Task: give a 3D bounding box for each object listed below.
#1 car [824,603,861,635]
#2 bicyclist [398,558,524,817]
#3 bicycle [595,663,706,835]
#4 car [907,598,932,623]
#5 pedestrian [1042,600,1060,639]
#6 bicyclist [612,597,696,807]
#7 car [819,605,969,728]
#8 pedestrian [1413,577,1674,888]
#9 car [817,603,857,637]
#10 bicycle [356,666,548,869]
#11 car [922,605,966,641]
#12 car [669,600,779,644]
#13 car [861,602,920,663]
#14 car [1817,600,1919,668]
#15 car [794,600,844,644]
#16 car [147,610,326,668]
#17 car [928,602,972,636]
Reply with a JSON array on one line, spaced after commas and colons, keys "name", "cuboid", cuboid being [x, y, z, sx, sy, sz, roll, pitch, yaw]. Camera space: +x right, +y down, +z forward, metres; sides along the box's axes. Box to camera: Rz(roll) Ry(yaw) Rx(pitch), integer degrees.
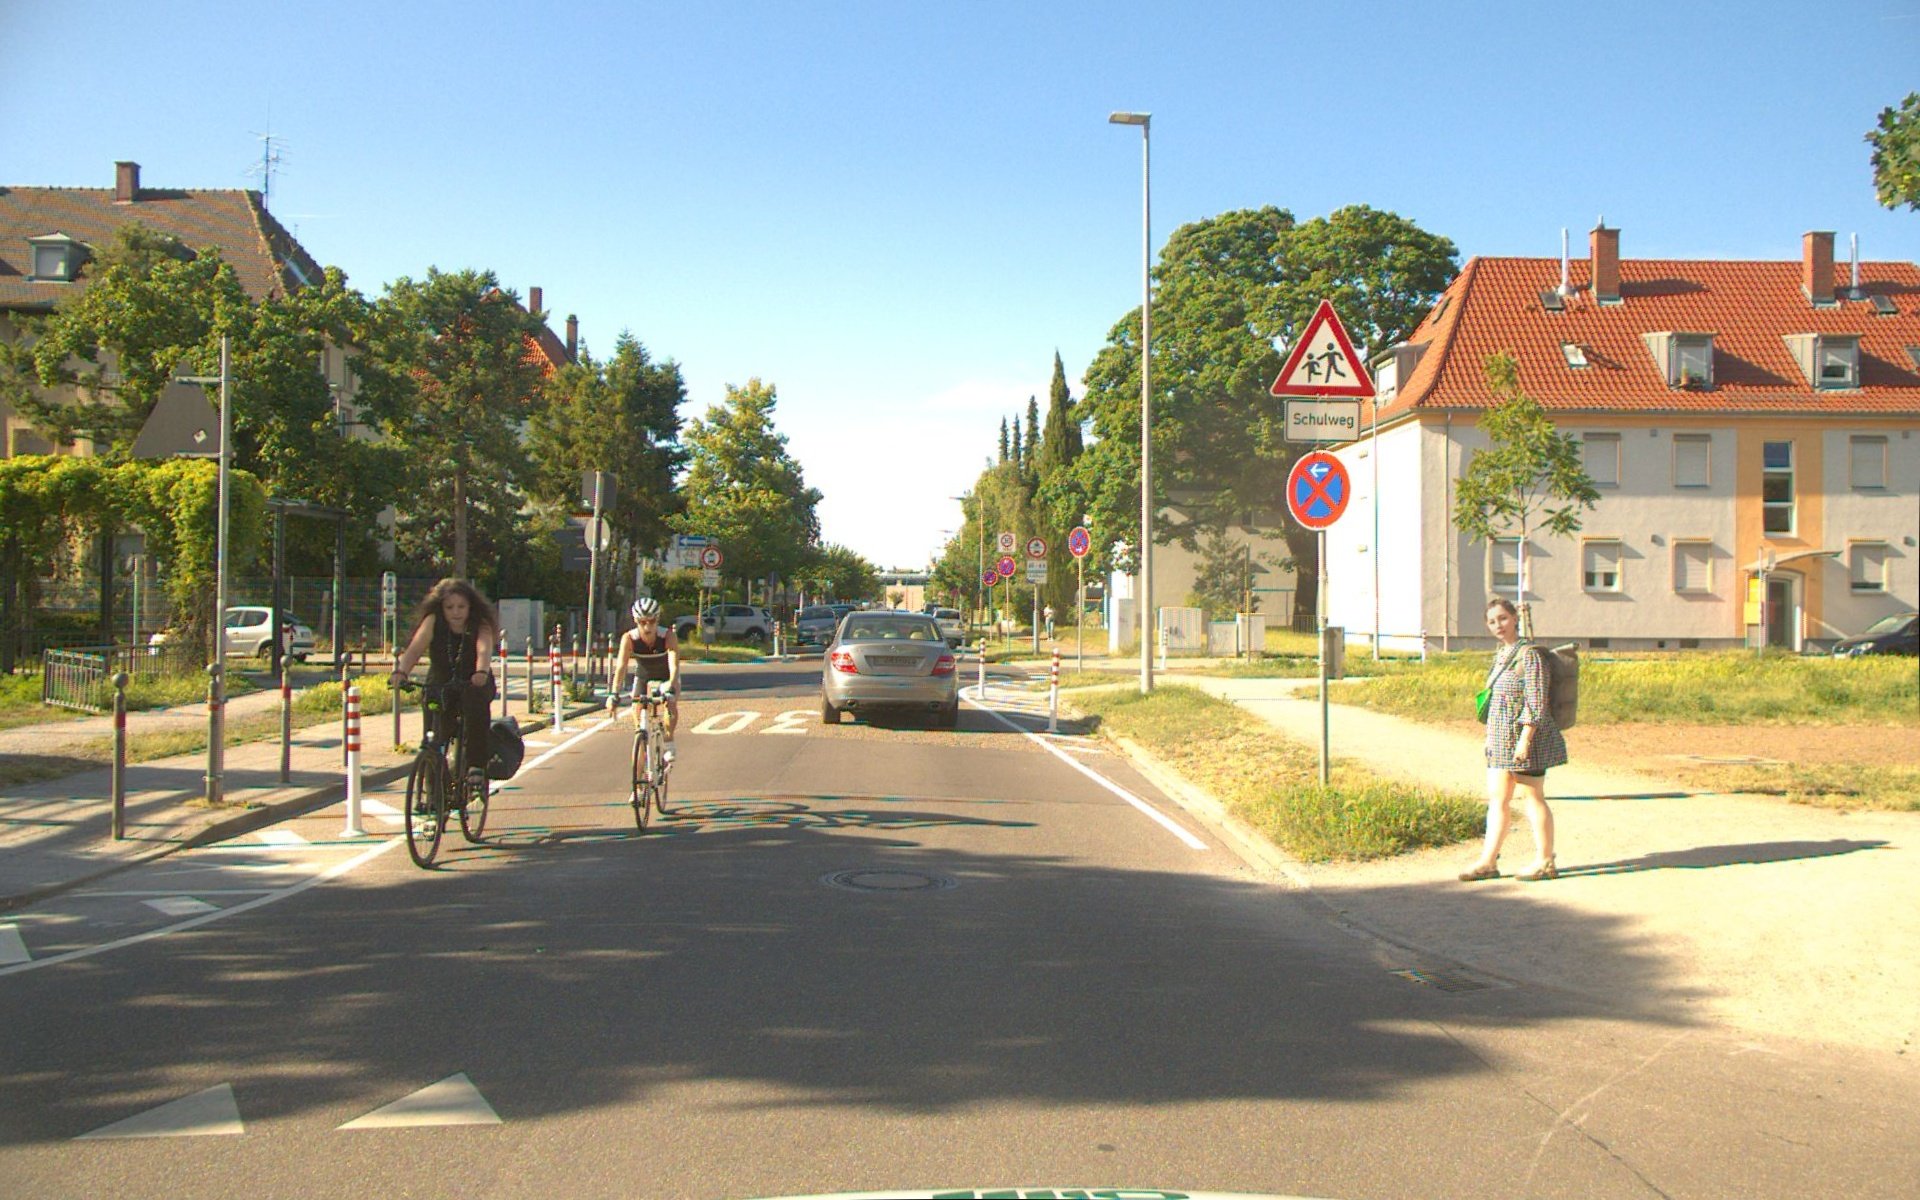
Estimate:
[{"name": "car", "cuboid": [-6.589, 1.059, 92.788, 1.954, 1.637, 3.997, -3, 0, -4]}, {"name": "bicyclist", "cuboid": [-3.262, 0.558, 10.855, 0.629, 1.648, 0.637, 0, -1, -1]}, {"name": "bicycle", "cuboid": [-2.228, 1.041, 12.066, 0.495, 1.108, 1.709, 0, 0, 0]}, {"name": "car", "cuboid": [-3.151, 0.814, 127.616, 1.817, 1.873, 3.998, 0, 0, -2]}, {"name": "pedestrian", "cuboid": [3.869, 0.828, 69.995, 0.750, 1.639, 0.834, 0, 0, 3]}, {"name": "bicyclist", "cuboid": [-2.229, 0.723, 12.100, 0.486, 1.490, 0.687, 0, -1, -1]}, {"name": "car", "cuboid": [-0.817, 0.815, 22.040, 1.799, 1.466, 3.999, 1, 0, -1]}, {"name": "pedestrian", "cuboid": [3.533, 0.758, 10.074, 1.071, 1.703, 0.909, -5, 1, -19]}, {"name": "car", "cuboid": [-6.447, 1.019, 87.078, 1.954, 1.637, 3.997, -3, 0, -4]}, {"name": "bicycle", "cuboid": [-3.262, 1.034, 10.822, 0.629, 1.128, 2.065, 0, 0, 0]}, {"name": "car", "cuboid": [-0.717, 0.986, 71.754, 1.699, 1.505, 3.722, 0, 0, -4]}, {"name": "car", "cuboid": [-9.097, 0.842, 64.016, 4.110, 1.591, 1.840, 1, 0, -5]}, {"name": "car", "cuboid": [-1.970, 0.872, 46.045, 1.565, 1.638, 3.641, 0, 0, -4]}, {"name": "car", "cuboid": [24.403, 0.860, 42.406, 3.969, 1.693, 1.721, 0, 0, -2]}, {"name": "car", "cuboid": [-5.873, 0.896, 69.285, 1.954, 1.637, 3.997, -3, 0, -4]}, {"name": "car", "cuboid": [-18.022, 0.968, 41.310, 3.688, 1.423, 1.706, 0, -1, -2]}, {"name": "car", "cuboid": [-0.534, 0.941, 82.615, 1.954, 1.638, 3.997, 0, 0, -4]}]
